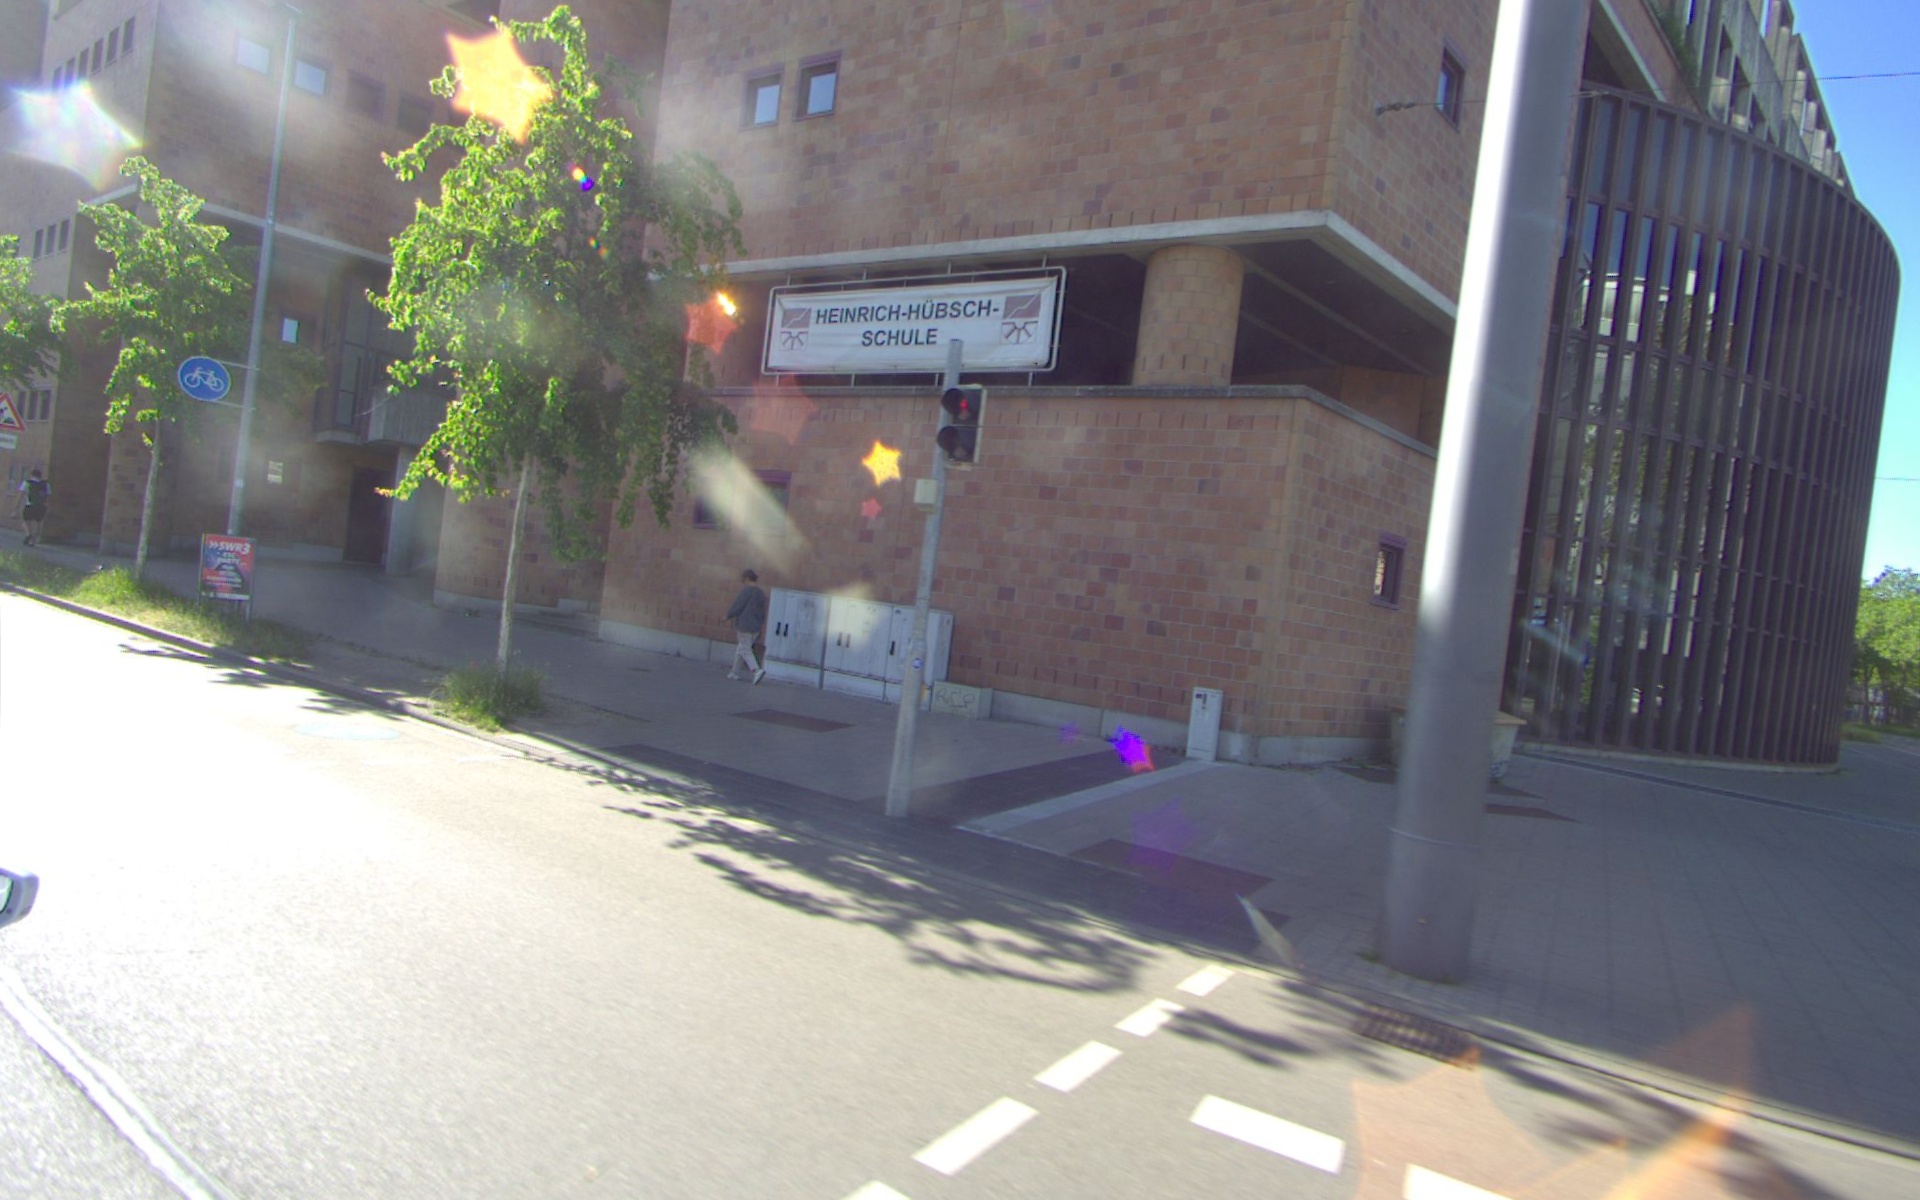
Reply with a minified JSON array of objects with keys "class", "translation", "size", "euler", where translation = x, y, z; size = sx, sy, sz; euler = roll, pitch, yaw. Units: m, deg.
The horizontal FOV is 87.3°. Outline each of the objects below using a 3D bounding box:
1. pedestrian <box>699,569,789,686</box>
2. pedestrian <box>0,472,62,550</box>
[{"class":"pedestrian","translation":[-3.157,0.400,14.718],"size":[0.970,1.583,0.618],"euler":[7,1,31]},{"class":"pedestrian","translation":[-22.628,-2.160,24.437],"size":[0.916,1.738,0.881],"euler":[7,1,31]}]
